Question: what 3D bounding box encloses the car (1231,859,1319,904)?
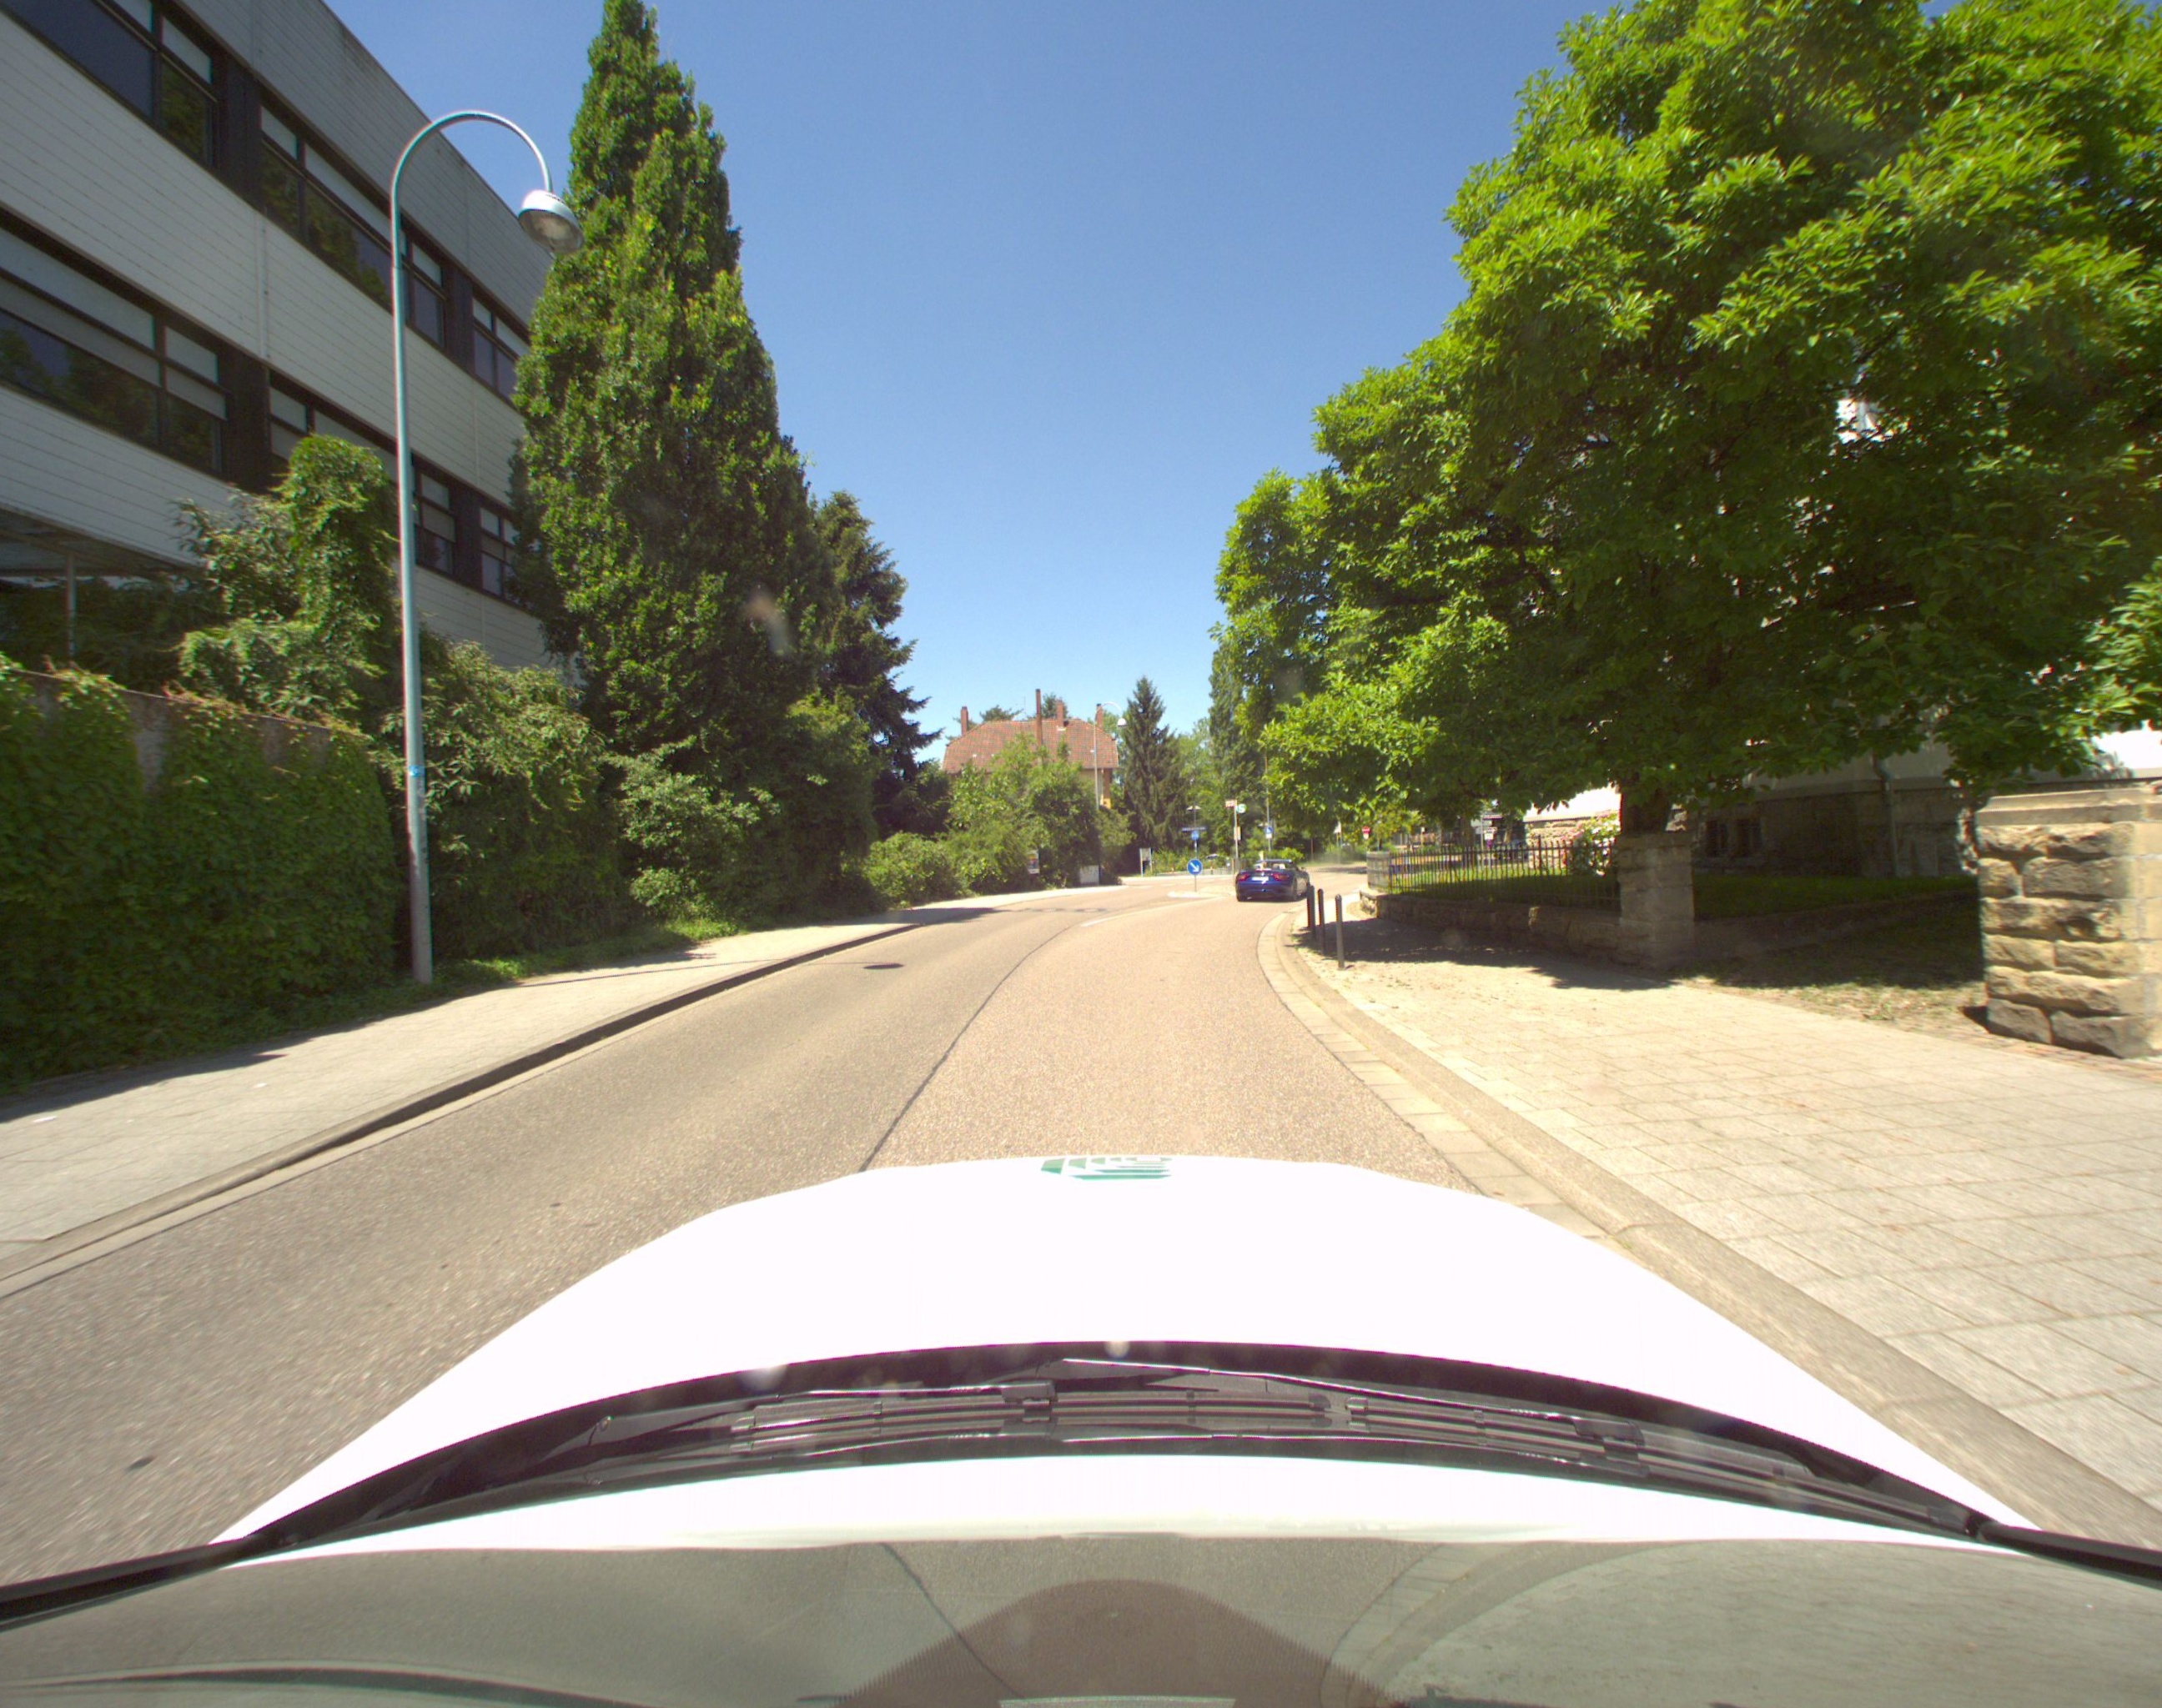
[{"bbox_3d":[6.650,0.856,27.511,1.810,1.337,4.728,0,0,27],"label":"car"}]
